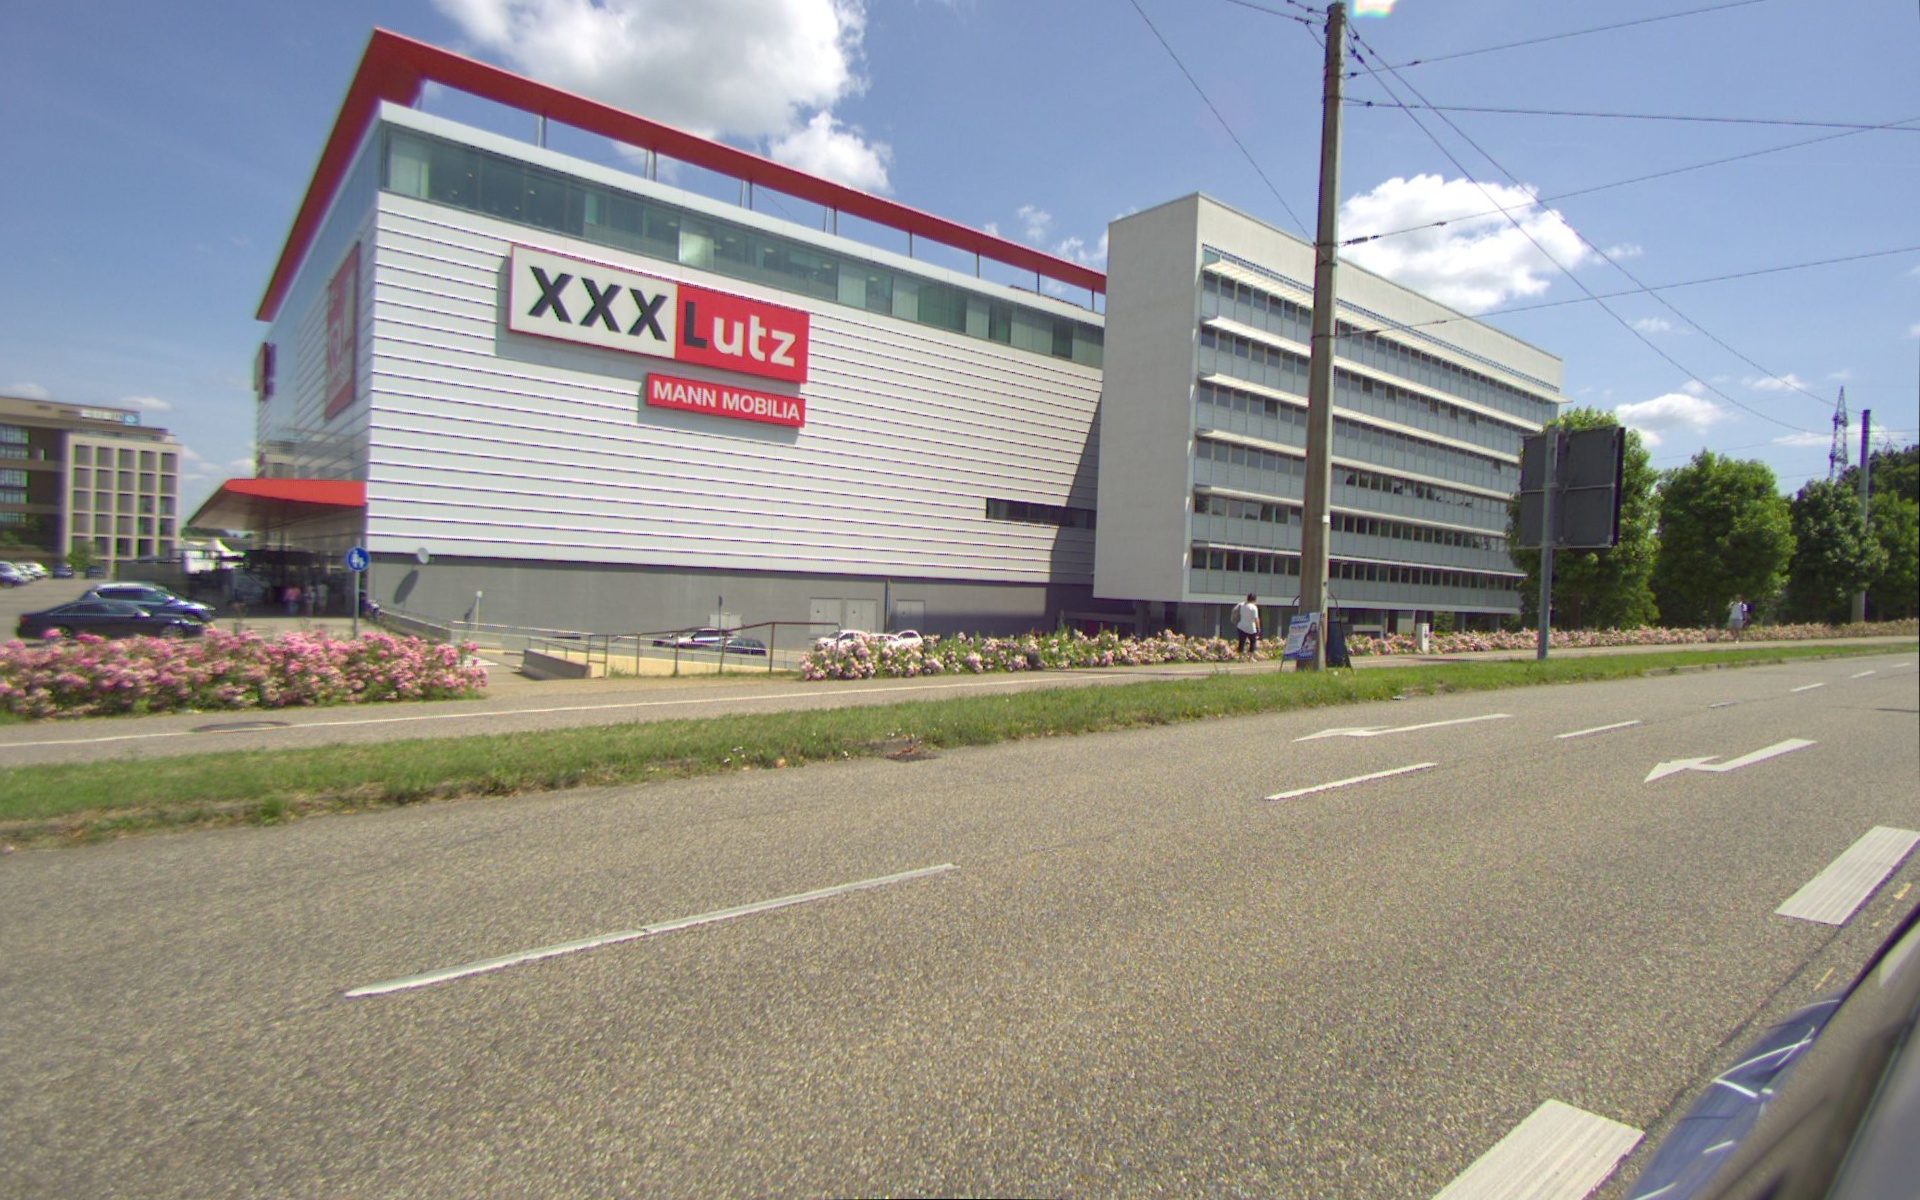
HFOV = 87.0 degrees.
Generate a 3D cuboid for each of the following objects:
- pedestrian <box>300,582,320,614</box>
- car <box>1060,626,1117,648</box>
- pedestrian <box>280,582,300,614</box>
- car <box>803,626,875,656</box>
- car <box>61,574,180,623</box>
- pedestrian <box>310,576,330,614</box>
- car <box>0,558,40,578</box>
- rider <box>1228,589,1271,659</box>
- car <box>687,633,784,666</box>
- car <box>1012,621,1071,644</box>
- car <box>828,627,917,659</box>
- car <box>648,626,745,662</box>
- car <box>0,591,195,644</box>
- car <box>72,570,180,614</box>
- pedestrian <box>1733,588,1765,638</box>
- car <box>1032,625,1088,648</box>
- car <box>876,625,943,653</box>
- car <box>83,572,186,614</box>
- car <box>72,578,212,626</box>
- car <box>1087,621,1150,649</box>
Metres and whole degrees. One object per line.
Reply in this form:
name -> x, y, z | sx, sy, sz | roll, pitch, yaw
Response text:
pedestrian -> -32.110, -0.094, 49.990 | 0.723, 1.577, 0.741 | 1, 0, -42
car -> 8.706, 2.481, 68.291 | 3.930, 1.338, 1.607 | 0, 0, -41
pedestrian -> -33.256, -0.116, 50.236 | 0.723, 1.577, 0.741 | 1, 0, -42
car -> -7.341, 2.459, 61.625 | 3.930, 1.632, 1.997 | 0, 0, -41
car -> -36.672, -0.097, 44.303 | 3.930, 2.039, 1.997 | 0, 1, -41
pedestrian -> -32.326, -0.243, 51.133 | 0.723, 1.893, 0.741 | 1, 0, -42
car -> -81.005, -2.726, 85.348 | 4.912, 1.631, 1.997 | 0, 0, -41
rider -> 6.285, 0.507, 21.988 | 0.607, 1.476, 0.670 | 1, 0, -41
car -> -11.062, 2.399, 49.981 | 4.278, 1.416, 1.996 | 0, 0, -42
car -> 5.853, 2.302, 72.325 | 3.930, 1.465, 1.997 | 0, 0, -41
car -> -5.142, 2.493, 59.837 | 5.056, 1.632, 1.997 | 0, 0, -41
car -> -13.793, 2.261, 53.055 | 4.509, 1.632, 1.997 | 0, 0, -41
car -> -28.618, 0.551, 33.704 | 4.912, 1.631, 1.997 | 0, 0, -41
car -> -40.000, -0.363, 48.618 | 3.930, 2.039, 1.997 | 0, 0, -41
pedestrian -> 29.698, 0.473, 38.086 | 0.913, 1.872, 0.758 | 1, 0, -38
car -> 6.953, 2.518, 70.137 | 3.930, 1.403, 1.646 | 0, 0, -41
car -> -3.203, 2.462, 64.927 | 3.930, 1.632, 1.997 | 0, 0, -41
car -> -41.429, -0.367, 50.849 | 3.930, 2.039, 1.997 | 0, 1, -41
car -> -32.704, 0.094, 40.546 | 4.256, 1.804, 1.997 | 0, -1, -41
car -> 10.404, 2.277, 66.358 | 3.930, 1.632, 1.997 | 0, 0, -41
